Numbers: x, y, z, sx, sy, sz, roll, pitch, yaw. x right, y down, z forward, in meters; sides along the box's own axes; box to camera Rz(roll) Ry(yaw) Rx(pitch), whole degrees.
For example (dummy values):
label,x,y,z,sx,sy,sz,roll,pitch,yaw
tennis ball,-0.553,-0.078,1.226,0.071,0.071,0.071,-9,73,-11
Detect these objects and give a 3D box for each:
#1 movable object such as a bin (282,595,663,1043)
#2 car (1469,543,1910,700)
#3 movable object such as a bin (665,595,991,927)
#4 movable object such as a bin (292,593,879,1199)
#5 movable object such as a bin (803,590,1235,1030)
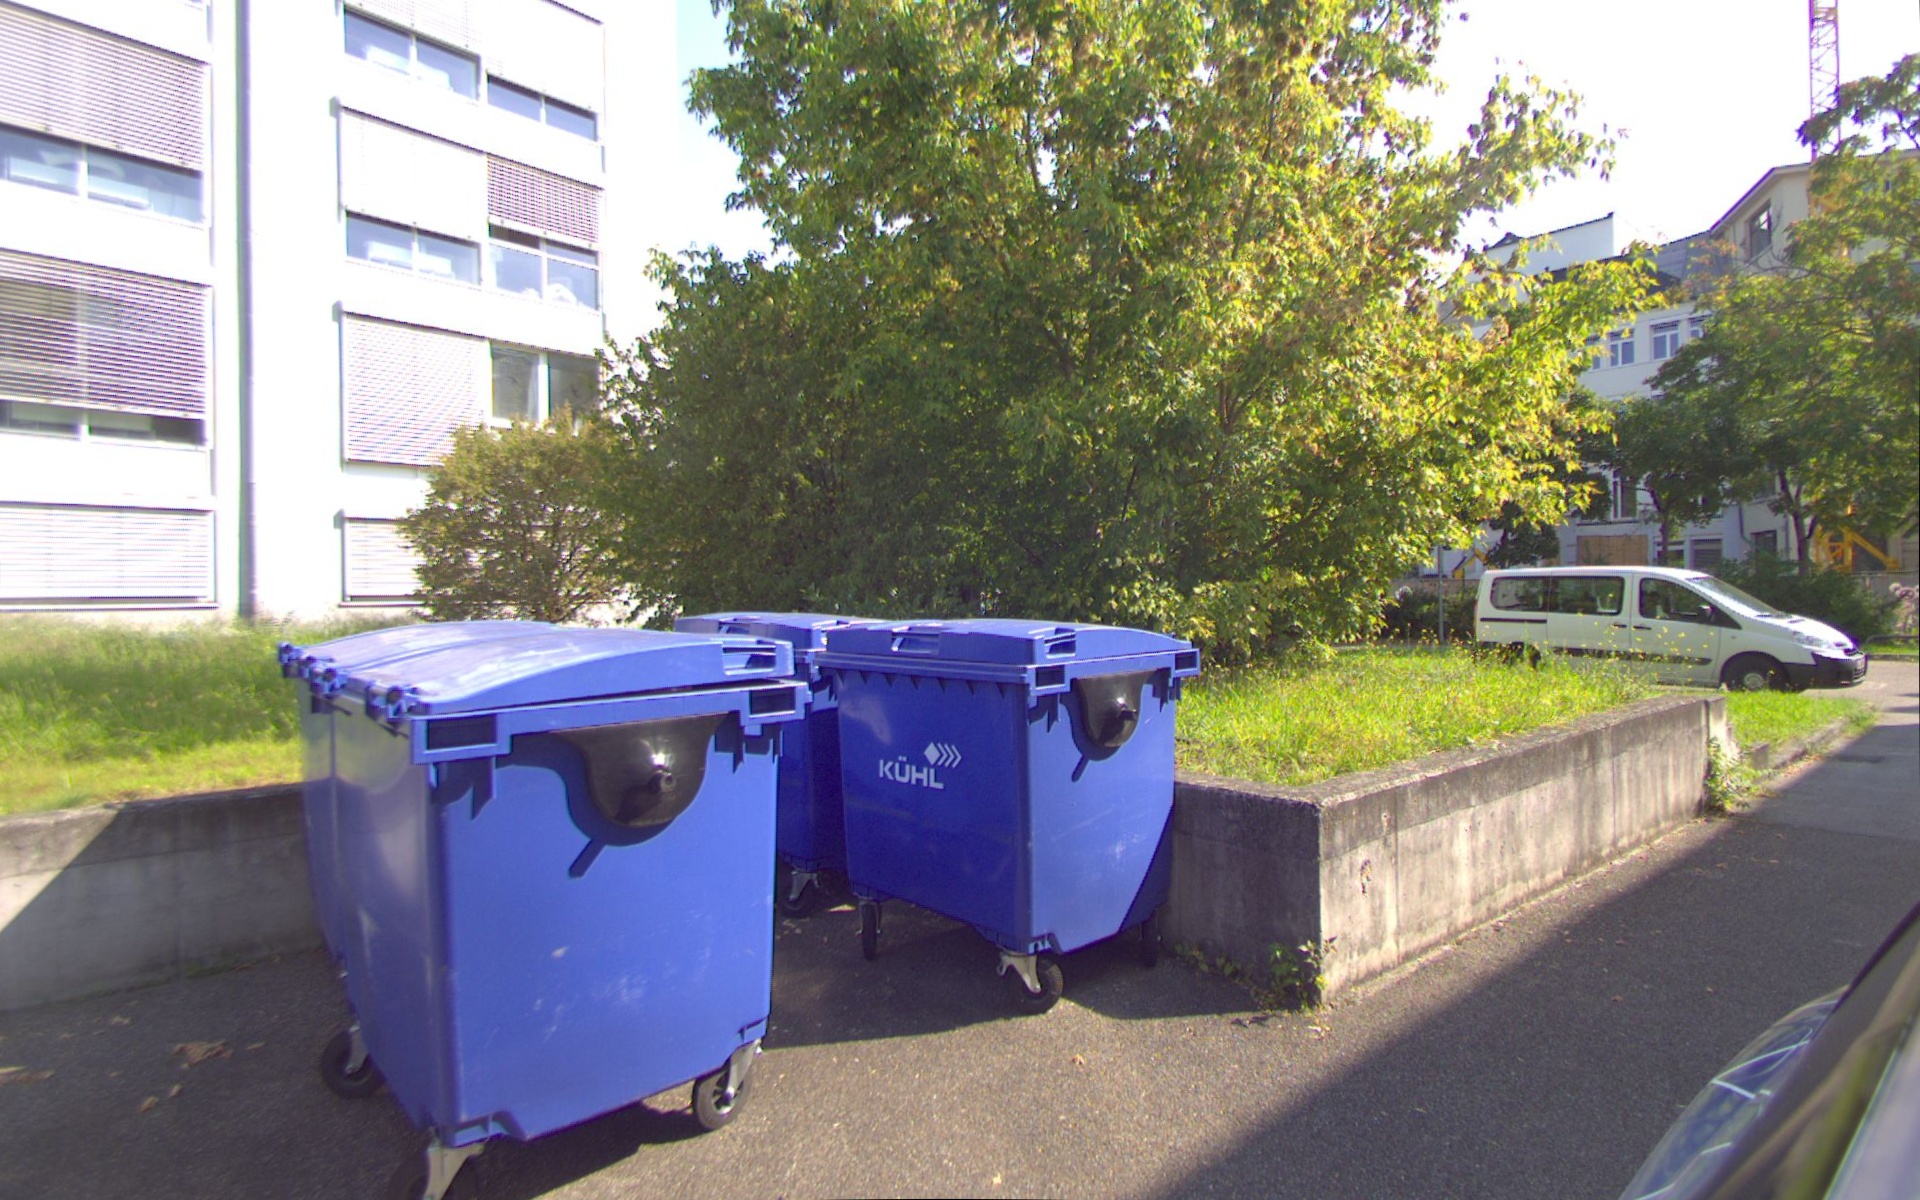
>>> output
label,x,y,z,sx,sy,sz,roll,pitch,yaw
movable object such as a bin,-1.929,0.678,3.944,1.096,1.357,1.238,-1,0,-37
car,10.625,0.286,15.136,2.007,1.945,4.968,-2,0,-39
movable object such as a bin,-0.663,0.675,5.021,1.226,1.357,1.059,-1,0,45
movable object such as a bin,-1.103,0.680,2.901,1.174,1.357,1.302,-1,0,-41
movable object such as a bin,0.212,0.659,4.012,1.082,1.357,1.310,-1,0,-44
